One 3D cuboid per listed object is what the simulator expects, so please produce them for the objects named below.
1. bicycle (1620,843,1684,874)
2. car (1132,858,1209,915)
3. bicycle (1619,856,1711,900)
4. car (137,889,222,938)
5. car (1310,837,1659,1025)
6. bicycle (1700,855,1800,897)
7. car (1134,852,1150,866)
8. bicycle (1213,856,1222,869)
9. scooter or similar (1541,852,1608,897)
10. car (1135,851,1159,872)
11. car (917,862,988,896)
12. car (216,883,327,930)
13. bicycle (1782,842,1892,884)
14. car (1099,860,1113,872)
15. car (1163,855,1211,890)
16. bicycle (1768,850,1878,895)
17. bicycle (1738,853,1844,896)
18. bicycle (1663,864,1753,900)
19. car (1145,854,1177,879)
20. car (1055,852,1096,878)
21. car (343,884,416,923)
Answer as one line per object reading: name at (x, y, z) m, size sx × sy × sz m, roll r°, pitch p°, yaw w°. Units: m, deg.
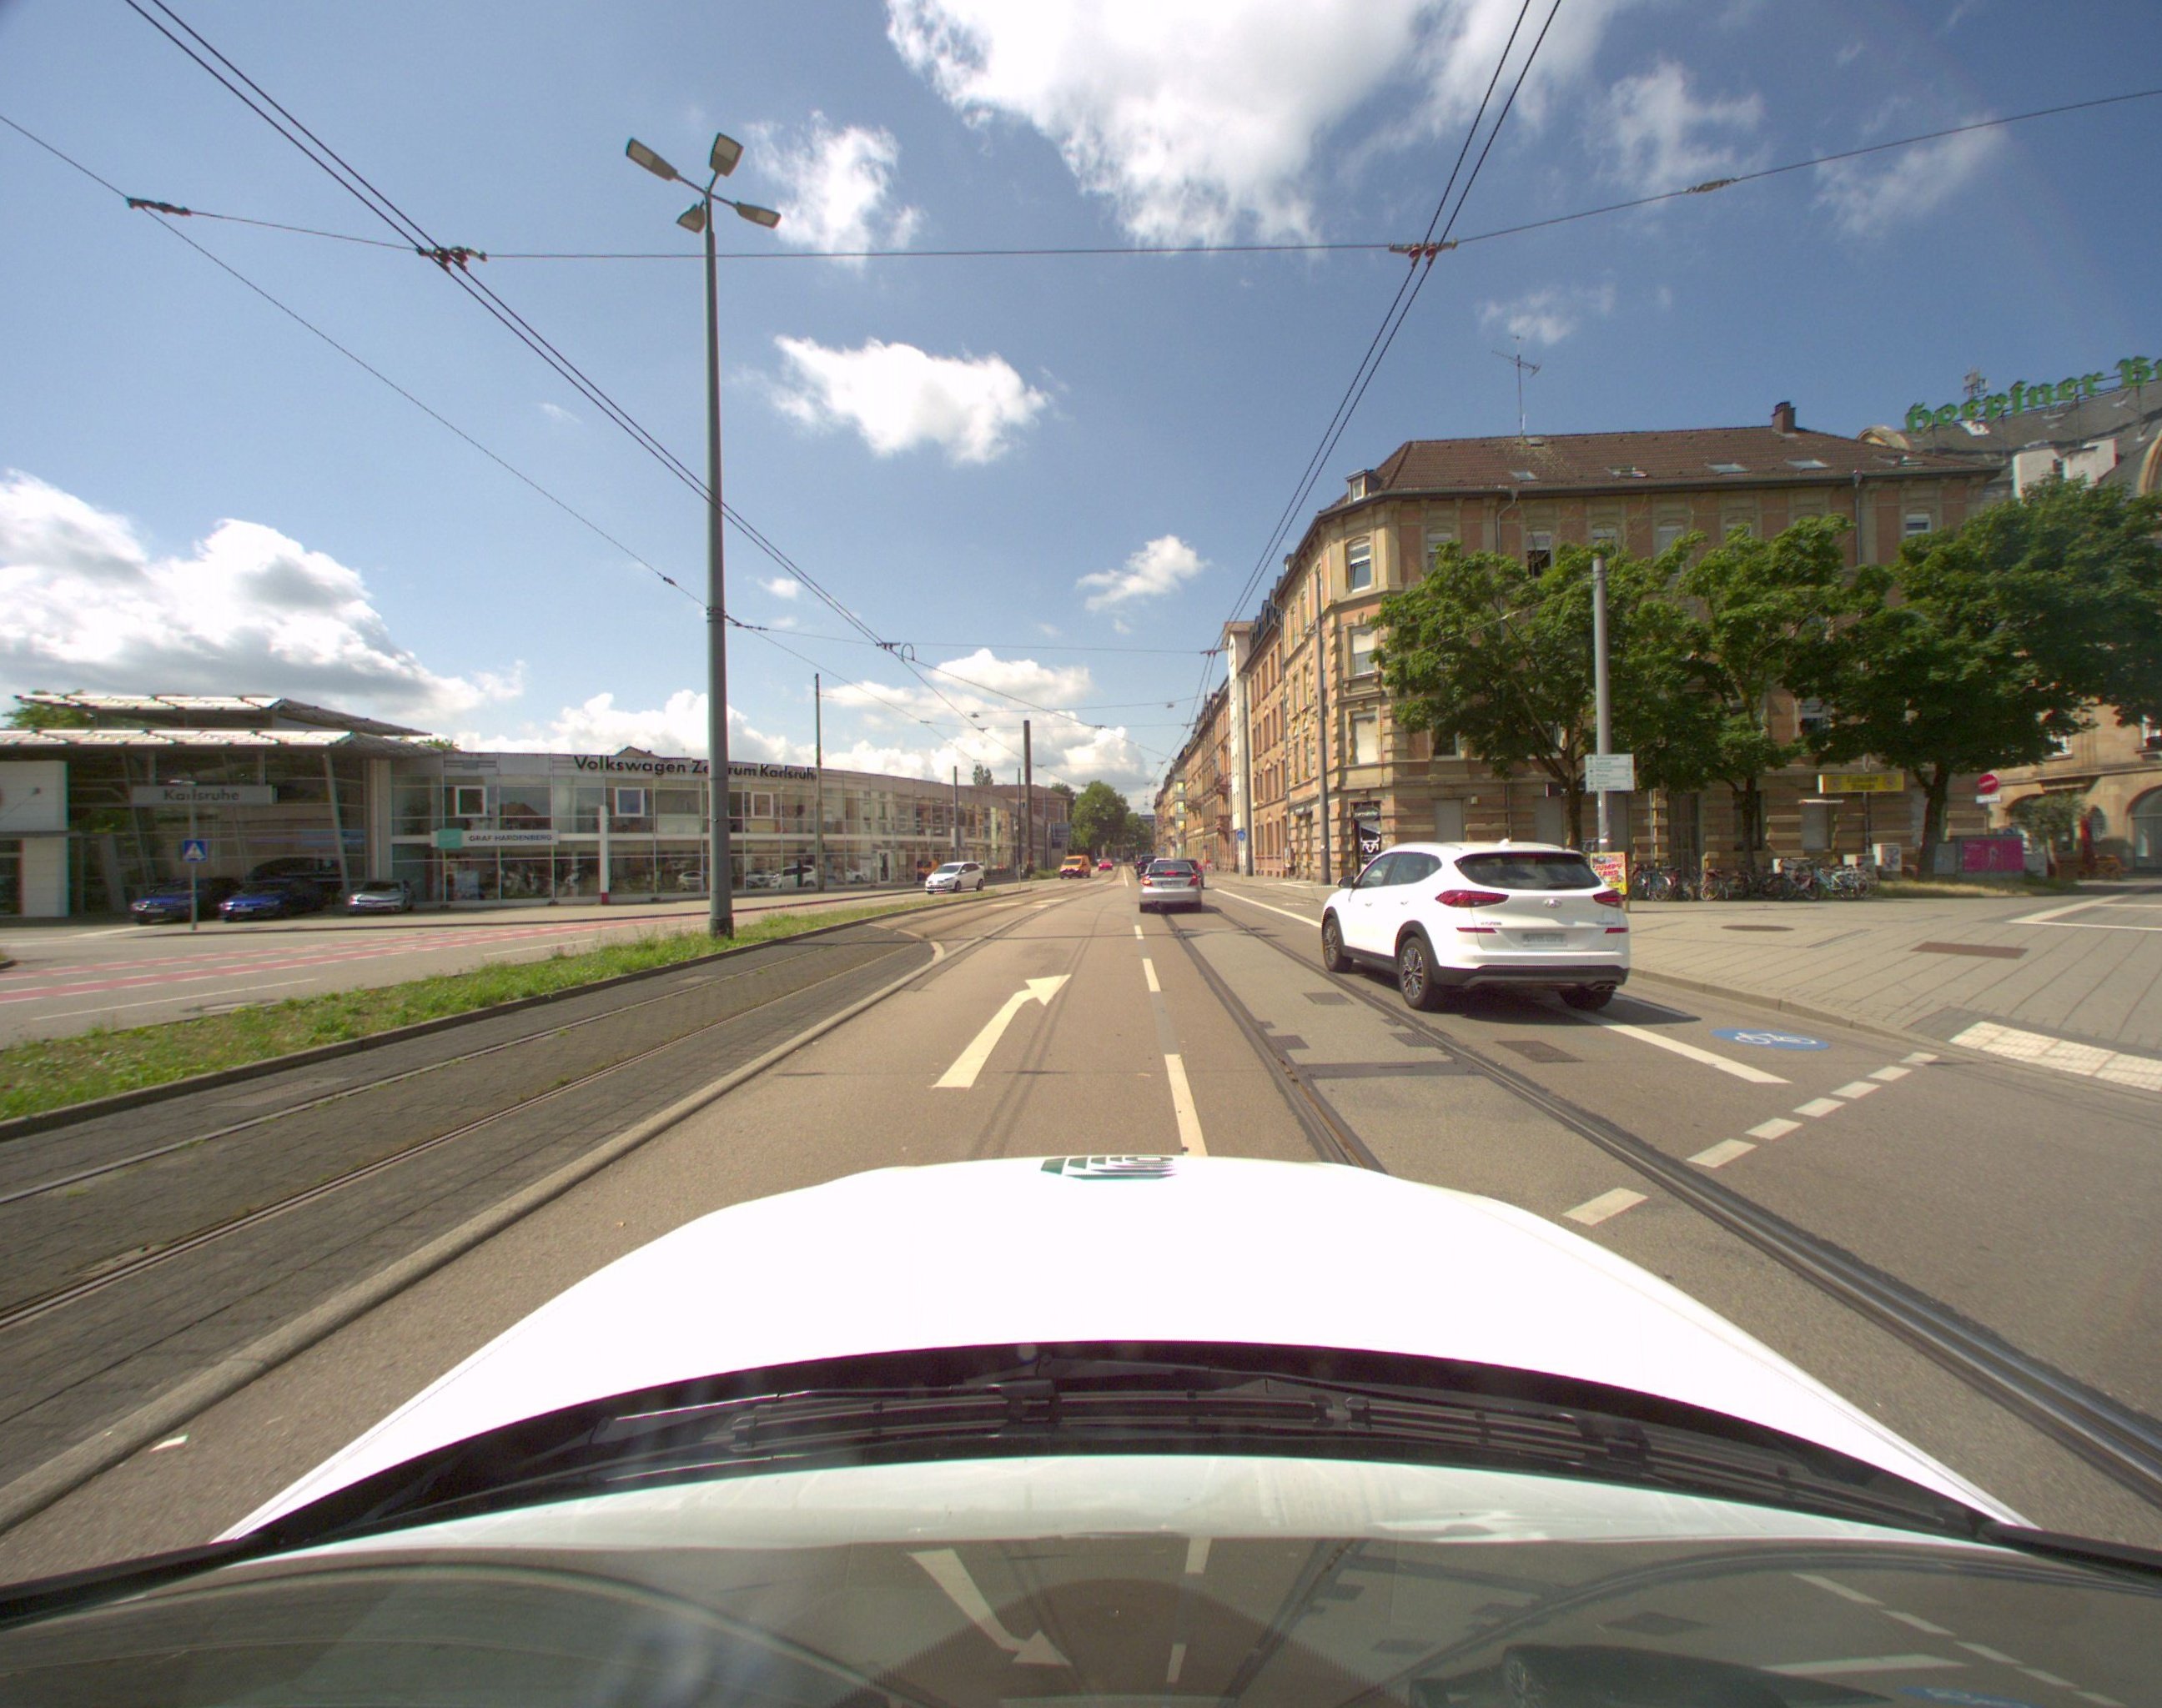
bicycle at (20.069, 0.154, 28.652) m, size 1.636 × 1.050 × 0.767 m, roll -2°, pitch 0°, yaw 10°
car at (2.484, 0.876, 23.550) m, size 1.808 × 1.420 × 4.188 m, roll -2°, pitch -1°, yaw 1°
bicycle at (15.993, 0.633, 22.391) m, size 1.019 × 1.081 × 2.267 m, roll -3°, pitch -1°, yaw 5°
car at (-35.185, 2.268, 31.887) m, size 1.786 × 1.673 × 3.596 m, roll -2°, pitch 0°, yaw -41°
car at (4.113, 0.687, 9.194) m, size 1.846 × 1.634 × 4.179 m, roll 0°, pitch -1°, yaw -1°
bicycle at (18.317, 0.579, 22.398) m, size 0.788 × 1.070 × 2.577 m, roll -3°, pitch -1°, yaw 6°
car at (8.395, 0.677, 112.521) m, size 1.986 × 1.860 × 4.001 m, roll -2°, pitch 0°, yaw 1°
bicycle at (12.876, 0.777, 76.874) m, size 0.584 × 1.178 × 2.207 m, roll -2°, pitch 0°, yaw 4°
scooter or similar at (13.850, 0.568, 22.892) m, size 0.946 × 1.203 × 1.388 m, roll -3°, pitch -1°, yaw -4°
car at (5.565, 0.664, 68.866) m, size 1.807 × 1.662 × 4.088 m, roll -2°, pitch -1°, yaw 3°
car at (-6.960, 1.335, 44.578) m, size 1.752 × 1.604 × 4.516 m, roll -3°, pitch 0°, yaw 20°
car at (-32.047, 2.031, 32.366) m, size 1.661 × 1.473 × 3.762 m, roll -1°, pitch 2°, yaw -20°
bicycle at (20.952, 0.244, 22.668) m, size 0.788 × 1.053 × 2.577 m, roll -3°, pitch -1°, yaw 6°
car at (3.087, 1.512, 100.858) m, size 1.695 × 1.428 × 3.904 m, roll -2°, pitch -1°, yaw 2°
car at (5.058, 0.861, 39.193) m, size 1.808 × 1.524 × 4.086 m, roll -2°, pitch 0°, yaw 1°
bicycle at (20.056, 0.483, 22.110) m, size 0.788 × 1.091 × 2.577 m, roll -3°, pitch -1°, yaw 6°
bicycle at (19.164, 0.526, 22.079) m, size 0.788 × 1.053 × 2.577 m, roll -3°, pitch -1°, yaw 6°
bicycle at (17.149, 0.741, 22.350) m, size 0.838 × 0.880 × 2.291 m, roll -3°, pitch -1°, yaw 5°
car at (5.219, 0.810, 53.573) m, size 1.807 × 1.524 × 3.958 m, roll -2°, pitch 0°, yaw 3°
car at (-0.381, 0.880, 64.817) m, size 1.896 × 1.865 × 4.387 m, roll -3°, pitch 0°, yaw 17°
car at (-29.865, 2.066, 34.784) m, size 1.842 × 1.447 × 3.906 m, roll -2°, pitch 0°, yaw -33°
